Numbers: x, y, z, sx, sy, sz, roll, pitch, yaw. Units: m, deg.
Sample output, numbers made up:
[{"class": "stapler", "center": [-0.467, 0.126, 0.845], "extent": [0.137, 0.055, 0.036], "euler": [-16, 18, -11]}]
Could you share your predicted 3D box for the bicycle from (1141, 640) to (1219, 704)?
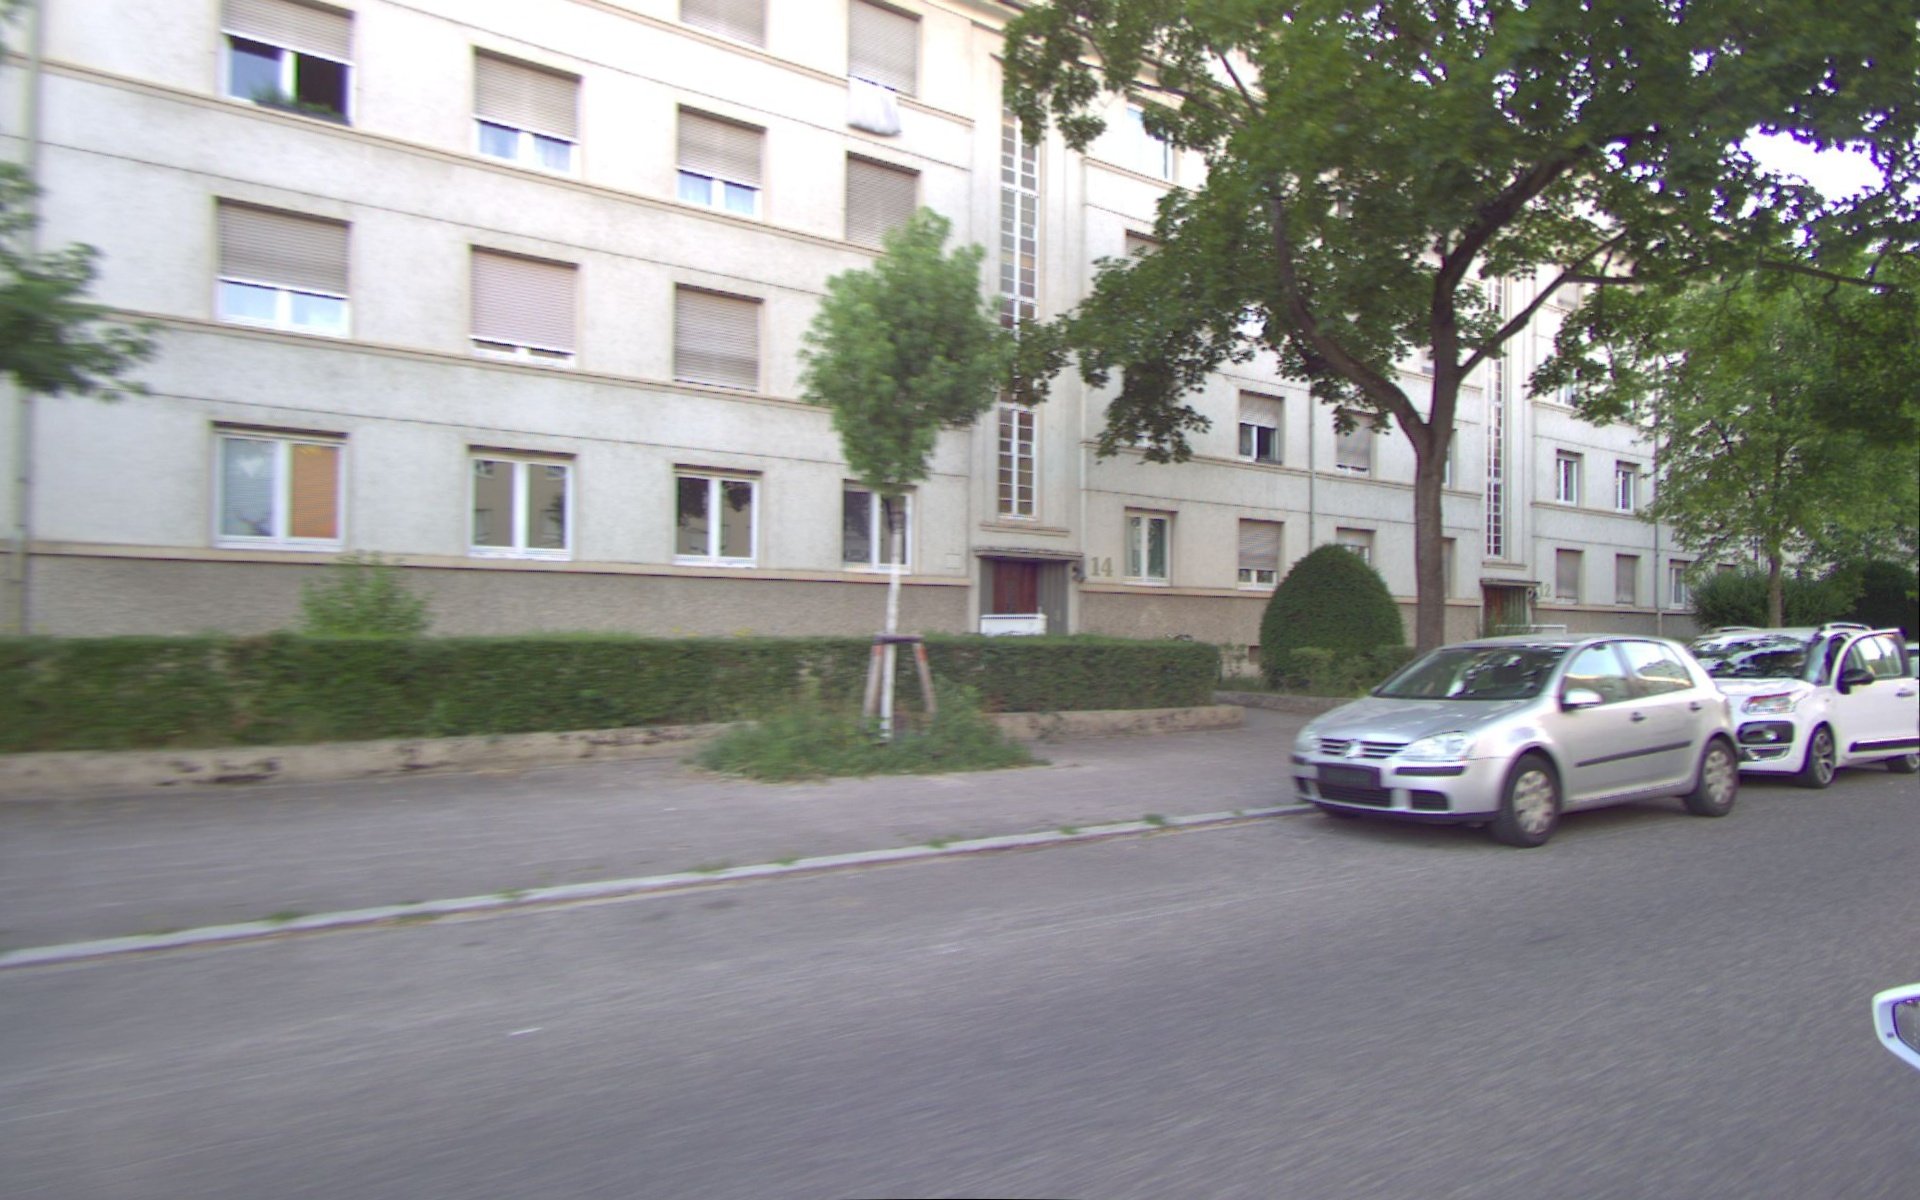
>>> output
[{"class": "bicycle", "center": [3.945, 1.270, 18.169], "extent": [0.549, 1.056, 1.810], "euler": [1, -1, -18]}]

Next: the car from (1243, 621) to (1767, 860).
[{"class": "car", "center": [4.464, 0.988, 8.118], "extent": [4.173, 1.490, 1.745], "euler": [1, -5, -30]}]

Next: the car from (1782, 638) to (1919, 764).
[{"class": "car", "center": [12.950, 1.282, 13.393], "extent": [3.897, 1.498, 1.745], "euler": [1, -5, -29]}]

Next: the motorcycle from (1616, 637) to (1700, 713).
[{"class": "motorcycle", "center": [12.921, 1.375, 18.579], "extent": [1.807, 1.342, 0.583], "euler": [2, -2, -31]}]

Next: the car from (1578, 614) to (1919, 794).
[{"class": "car", "center": [8.823, 1.066, 11.094], "extent": [4.062, 1.653, 1.743], "euler": [2, -5, -32]}]
